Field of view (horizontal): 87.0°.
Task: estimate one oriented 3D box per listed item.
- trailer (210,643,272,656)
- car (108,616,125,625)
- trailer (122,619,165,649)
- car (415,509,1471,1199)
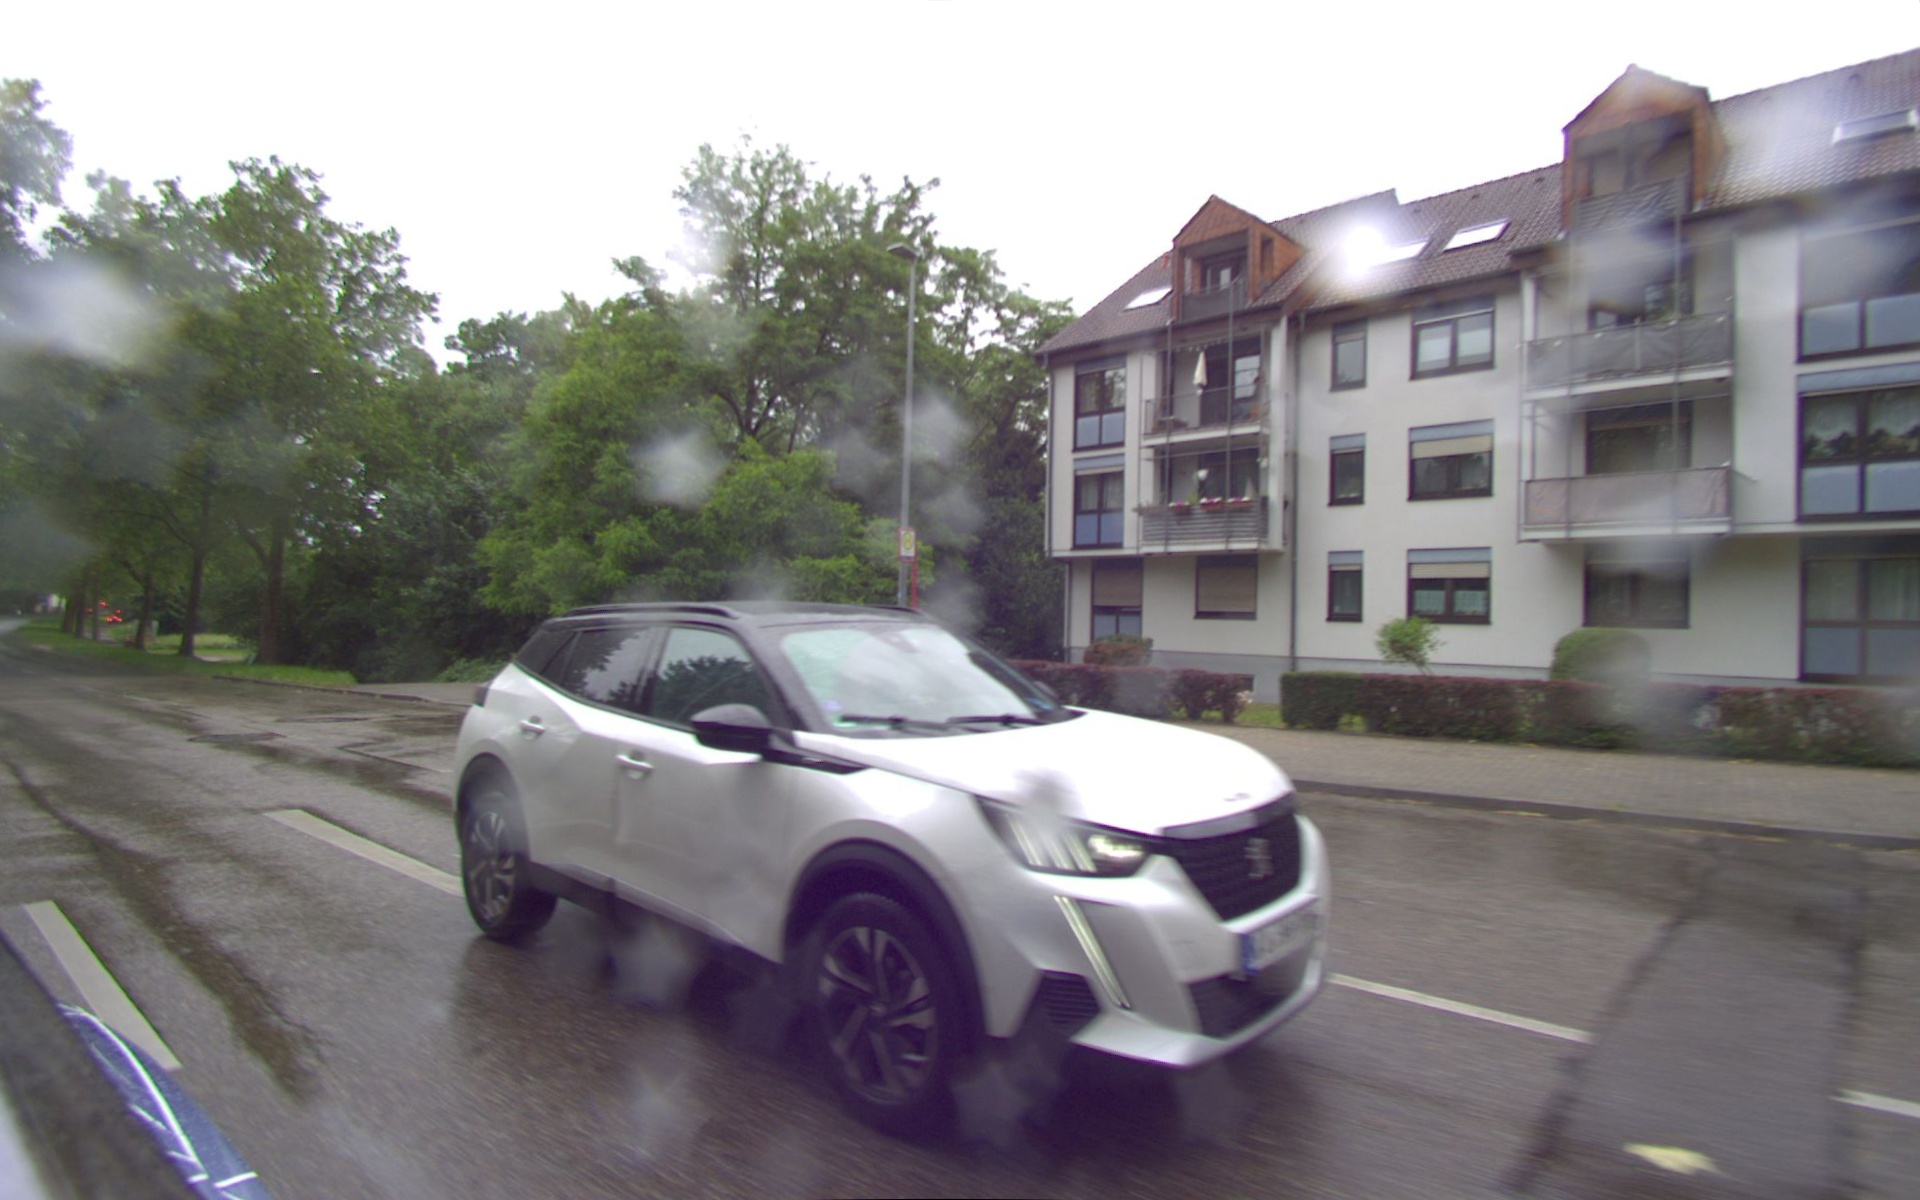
[{"bbox_3d":[-65.065,4.497,91.609,2.383,1.040,4.268,0,-2,44],"label":"trailer"},{"bbox_3d":[-169.741,4.172,203.721,1.867,1.695,4.012,3,-2,-30],"label":"car"},{"bbox_3d":[-81.420,3.376,100.895,2.764,2.684,6.659,4,-3,-43],"label":"trailer"},{"bbox_3d":[-0.485,0.658,4.205,4.366,1.547,1.733,-1,-4,42],"label":"car"}]
